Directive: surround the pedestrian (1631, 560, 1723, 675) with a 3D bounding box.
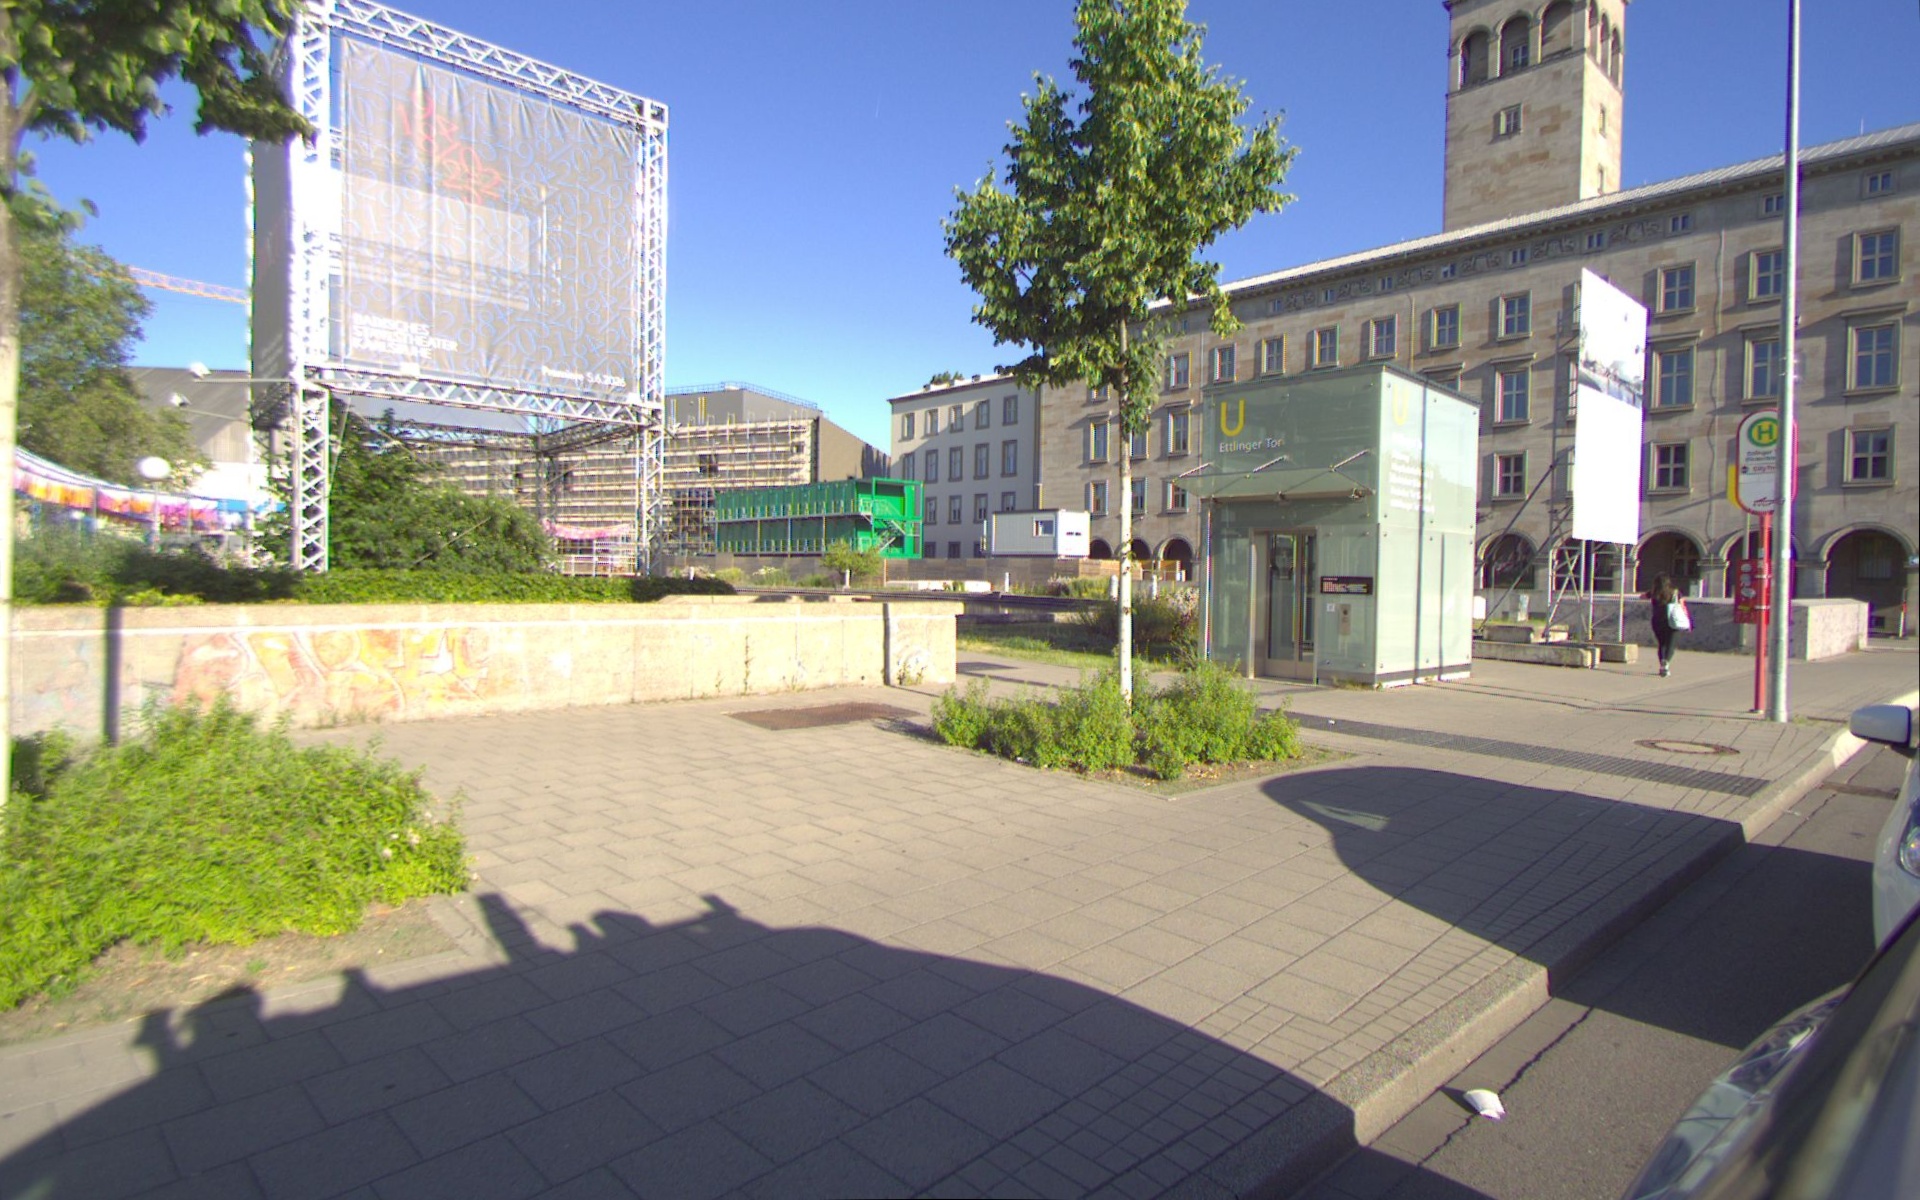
[{"bbox_3d":[11.936,0.259,16.846,1.053,1.808,0.942,0,3,-41],"label":"pedestrian"}]

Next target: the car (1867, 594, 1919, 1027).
[{"bbox_3d":[5.191,0.712,4.028,3.817,1.467,1.679,0,0,-37],"label":"car"}]
